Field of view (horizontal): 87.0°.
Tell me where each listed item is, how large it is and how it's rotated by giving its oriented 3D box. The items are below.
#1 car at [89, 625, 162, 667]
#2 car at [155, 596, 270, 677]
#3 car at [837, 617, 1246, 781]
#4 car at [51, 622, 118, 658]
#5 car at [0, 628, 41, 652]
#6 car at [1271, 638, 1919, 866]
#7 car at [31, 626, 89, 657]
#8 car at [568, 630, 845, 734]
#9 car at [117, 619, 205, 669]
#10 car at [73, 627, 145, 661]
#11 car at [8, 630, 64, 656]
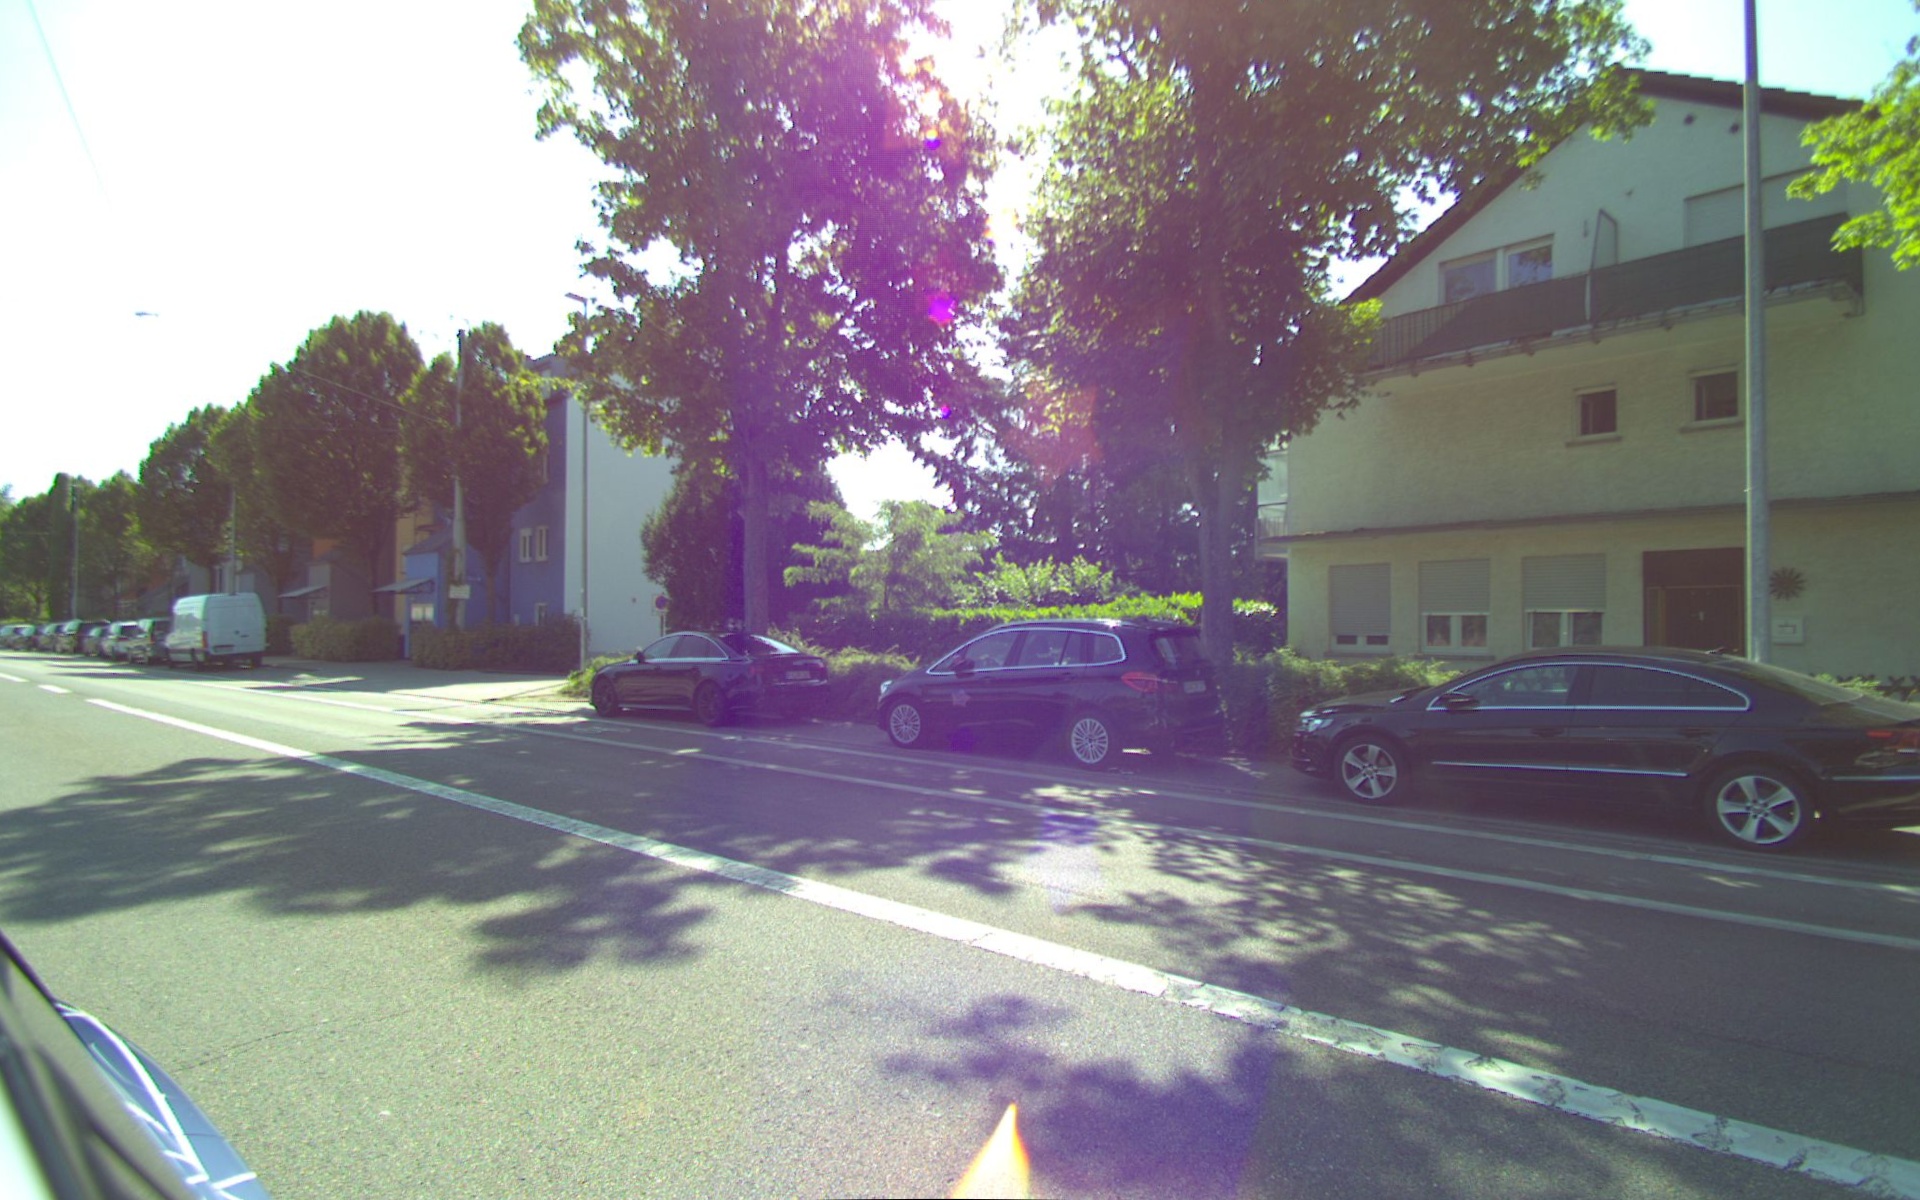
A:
[{"bbox_3d":[-38.081,2.046,46.153,4.539,1.715,1.829,-1,2,42],"label":"car"},{"bbox_3d":[-27.666,1.306,37.320,7.084,2.697,1.973,-2,1,42],"label":"car"},{"bbox_3d":[0.797,1.042,12.312,4.891,1.618,1.743,-1,-2,41],"label":"car"},{"bbox_3d":[-45.866,2.072,53.017,4.343,1.741,1.812,-1,0,38],"label":"car"},{"bbox_3d":[-60.159,2.525,64.229,4.826,1.457,1.663,-1,-1,35],"label":"car"},{"bbox_3d":[5.220,1.043,8.398,4.779,1.390,1.673,-2,-1,41],"label":"car"},{"bbox_3d":[-49.908,2.265,56.107,4.159,1.619,1.661,-1,-1,37],"label":"car"},{"bbox_3d":[-4.290,1.240,16.711,4.903,1.477,1.822,-1,-2,38],"label":"car"},{"bbox_3d":[-33.690,1.821,42.623,4.964,1.879,1.973,-1,2,41],"label":"car"},{"bbox_3d":[-41.744,2.119,49.630,4.069,1.466,1.849,-1,1,37],"label":"car"},{"bbox_3d":[-54.778,2.522,59.983,4.206,1.481,1.662,-1,-1,37],"label":"car"}]
